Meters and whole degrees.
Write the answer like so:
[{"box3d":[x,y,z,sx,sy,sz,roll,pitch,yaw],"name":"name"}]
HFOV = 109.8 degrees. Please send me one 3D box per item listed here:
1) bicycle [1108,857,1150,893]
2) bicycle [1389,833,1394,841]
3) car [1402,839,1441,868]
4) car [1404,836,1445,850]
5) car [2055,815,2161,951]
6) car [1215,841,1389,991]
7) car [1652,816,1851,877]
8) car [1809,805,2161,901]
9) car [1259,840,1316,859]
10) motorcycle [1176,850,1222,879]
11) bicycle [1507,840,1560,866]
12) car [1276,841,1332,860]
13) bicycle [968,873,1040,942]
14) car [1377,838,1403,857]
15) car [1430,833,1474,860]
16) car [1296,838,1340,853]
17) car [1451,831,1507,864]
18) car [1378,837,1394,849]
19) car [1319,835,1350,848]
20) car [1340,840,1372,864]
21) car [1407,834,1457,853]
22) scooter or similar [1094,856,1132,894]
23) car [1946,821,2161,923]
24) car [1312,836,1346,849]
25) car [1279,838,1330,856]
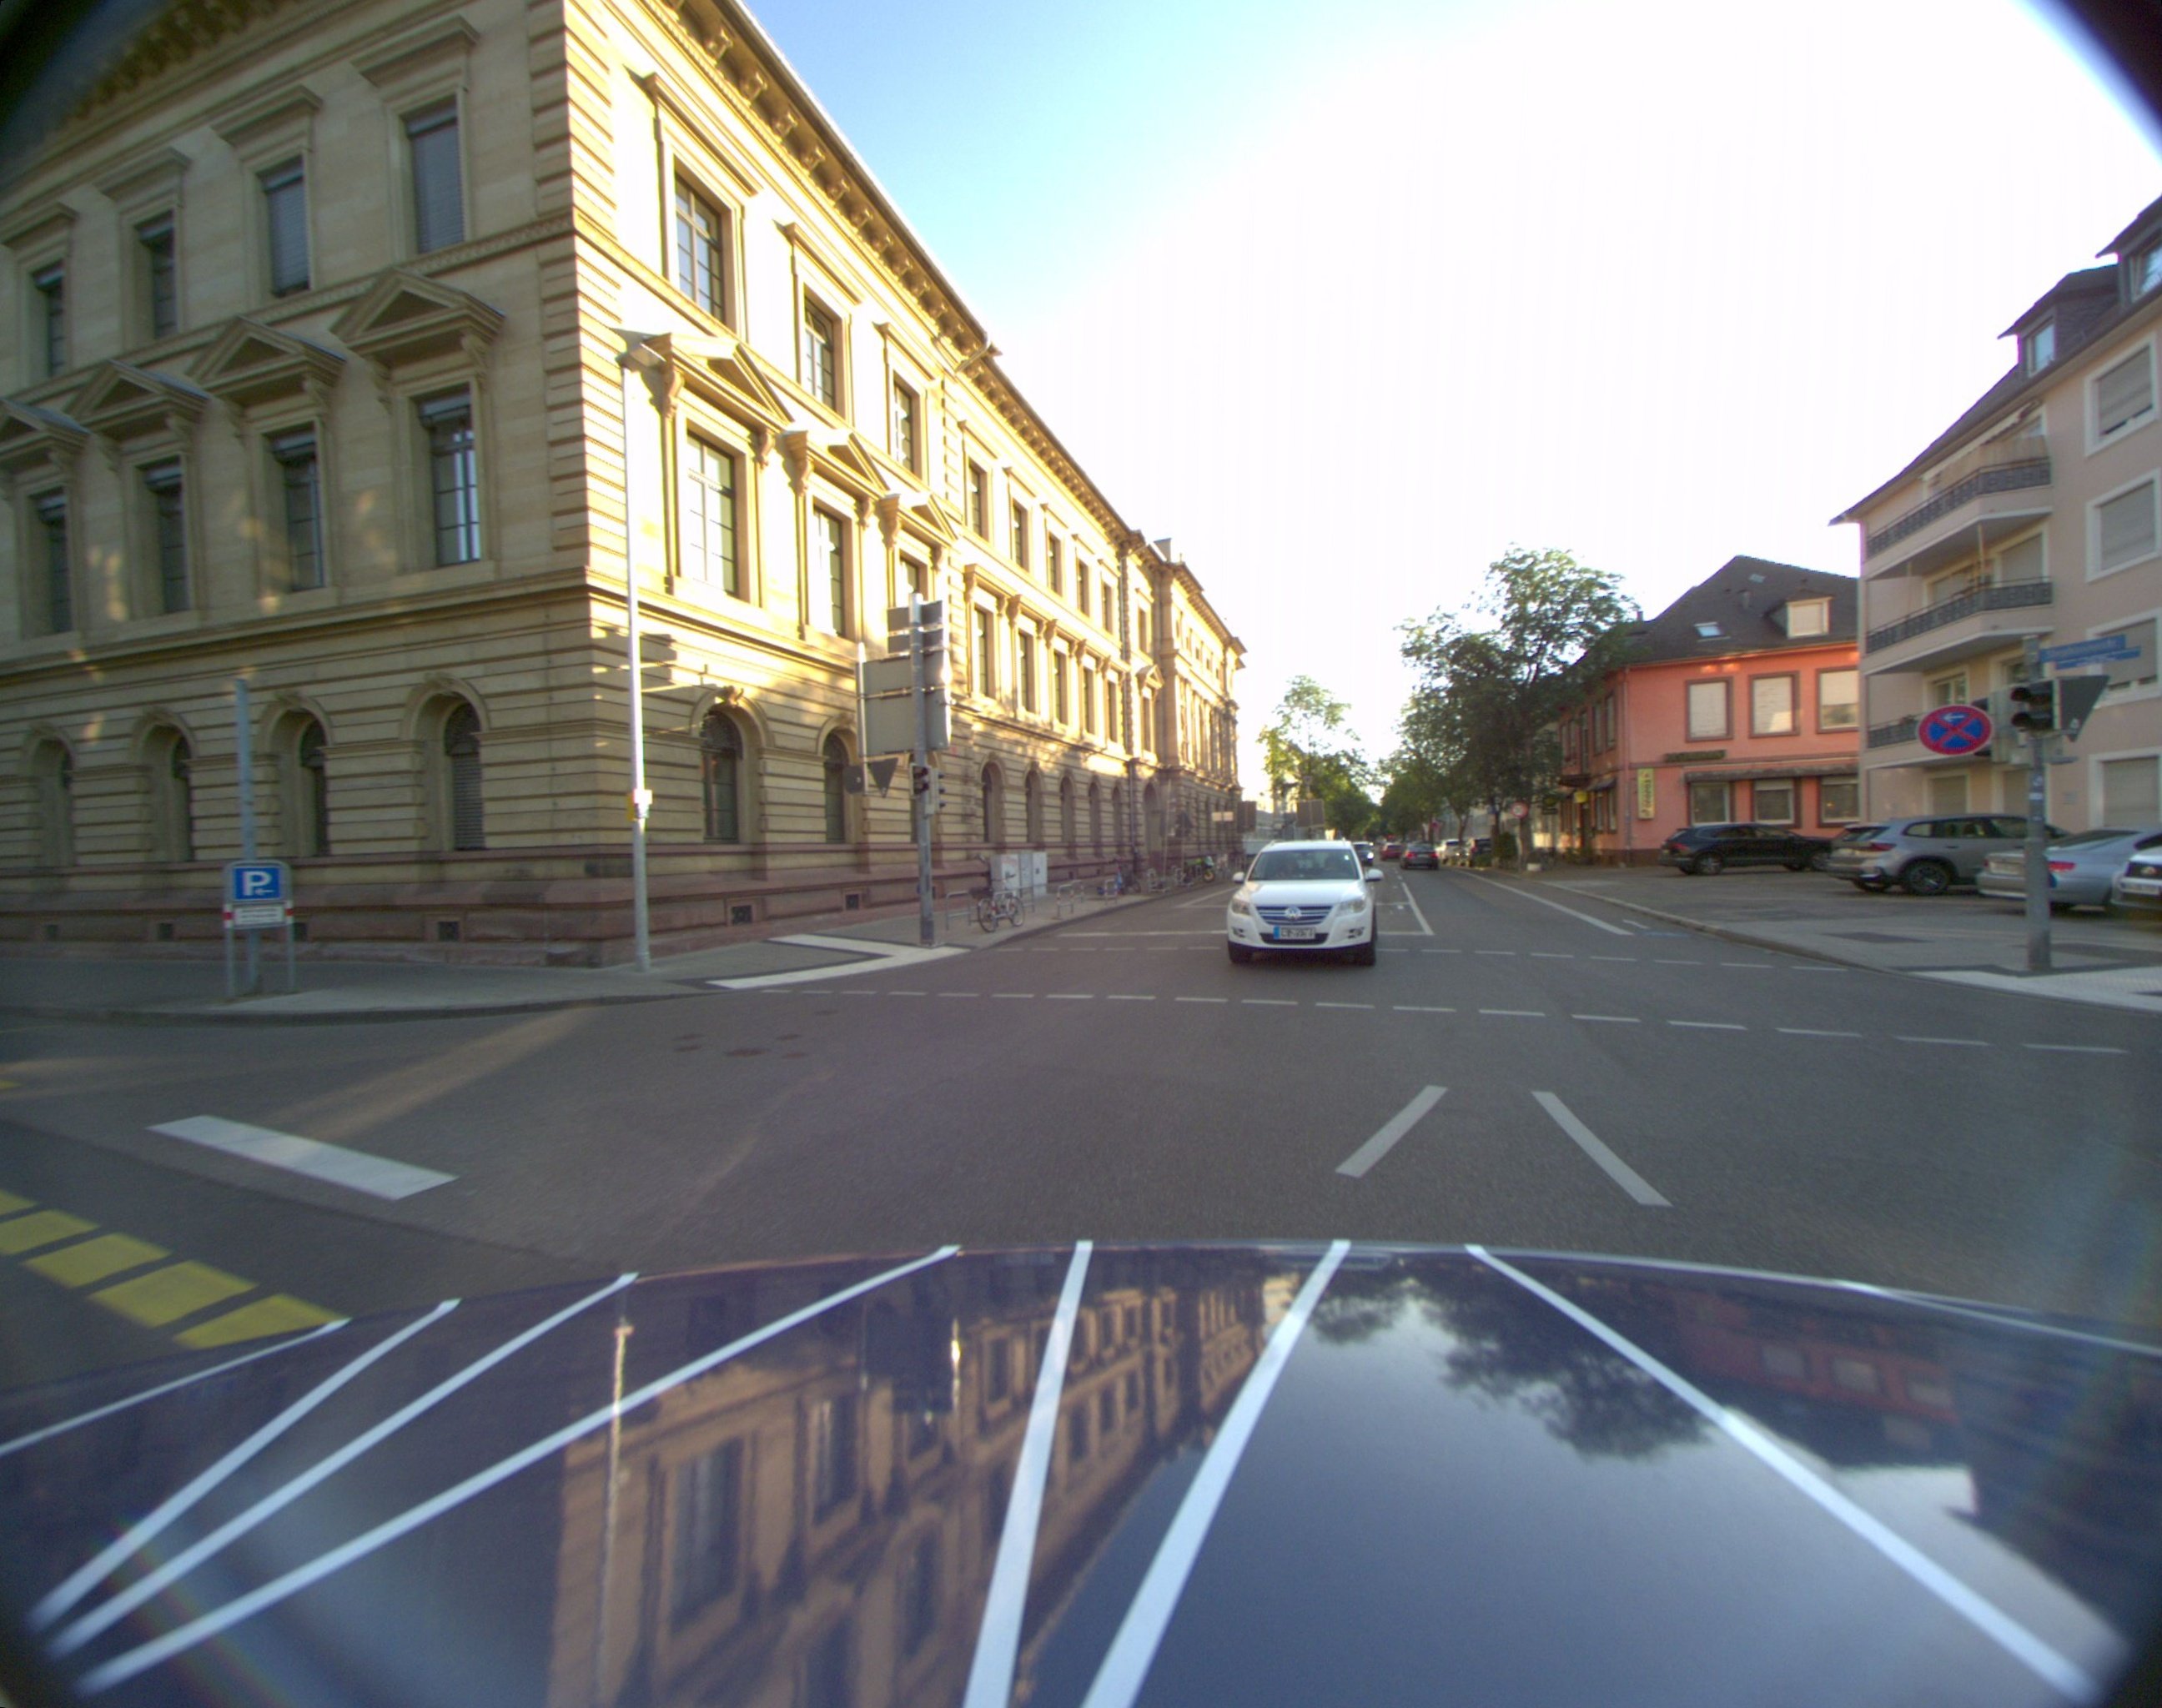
[{"box3d":[1.656,0.699,25.989,0.828,1.128,1.947,2,2,22],"name":"bicycle"},{"box3d":[48.114,-2.630,117.856,0.625,1.149,2.055,-1,3,22],"name":"bicycle"},{"box3d":[19.084,-0.051,42.714,1.784,1.451,4.429,-1,2,21],"name":"car"},{"box3d":[41.230,-1.336,91.297,4.224,1.499,1.803,-2,1,19],"name":"car"},{"box3d":[15.376,0.236,8.929,4.445,1.631,1.944,-3,0,20],"name":"car"},{"box3d":[3.421,0.692,11.106,1.954,1.667,4.549,-1,1,22],"name":"car"},{"box3d":[21.556,-0.228,24.659,4.423,1.655,1.866,-3,0,20],"name":"car"},{"box3d":[18.193,0.006,15.466,4.423,1.596,1.918,-3,0,20],"name":"car"},{"box3d":[16.824,-0.379,61.938,4.362,1.456,1.836,1,2,17],"name":"car"},{"box3d":[5.252,0.447,33.874,0.711,1.208,2.098,-2,3,-39],"name":"motorcycle"},{"box3d":[20.086,-0.034,33.756,1.869,1.098,0.611,-2,1,15],"name":"bicycle"},{"box3d":[18.773,-0.334,64.005,4.360,1.487,1.674,1,2,21],"name":"car"},{"box3d":[-1.533,1.059,15.539,0.582,1.182,1.922,-1,3,22],"name":"bicycle"},{"box3d":[26.100,-0.531,64.268,1.832,1.536,4.854,0,1,19],"name":"car"},{"box3d":[26.507,-0.558,54.415,1.831,1.658,4.661,-6,0,15],"name":"car"},{"box3d":[24.996,-0.899,80.091,4.361,1.615,1.736,1,2,19],"name":"car"},{"box3d":[24.158,-0.425,46.270,1.831,1.749,5.053,-6,0,15],"name":"car"},{"box3d":[36.669,-1.317,91.410,1.659,1.463,3.859,-1,0,19],"name":"car"},{"box3d":[37.569,-1.853,112.494,4.361,1.863,1.736,0,2,19],"name":"car"},{"box3d":[18.721,-0.179,51.693,1.948,1.546,4.005,-1,1,20],"name":"car"},{"box3d":[34.363,-1.050,74.431,4.224,1.680,1.803,-1,1,19],"name":"car"},{"box3d":[1.039,0.664,24.689,1.130,1.189,0.585,2,3,40],"name":"scooter or similar"},{"box3d":[16.426,0.200,11.356,4.271,1.372,1.738,-3,0,20],"name":"car"},{"box3d":[33.212,-1.516,101.685,4.361,1.768,1.736,1,2,19],"name":"car"},{"box3d":[20.680,-0.664,70.203,4.361,1.633,2.057,1,2,19],"name":"car"}]
